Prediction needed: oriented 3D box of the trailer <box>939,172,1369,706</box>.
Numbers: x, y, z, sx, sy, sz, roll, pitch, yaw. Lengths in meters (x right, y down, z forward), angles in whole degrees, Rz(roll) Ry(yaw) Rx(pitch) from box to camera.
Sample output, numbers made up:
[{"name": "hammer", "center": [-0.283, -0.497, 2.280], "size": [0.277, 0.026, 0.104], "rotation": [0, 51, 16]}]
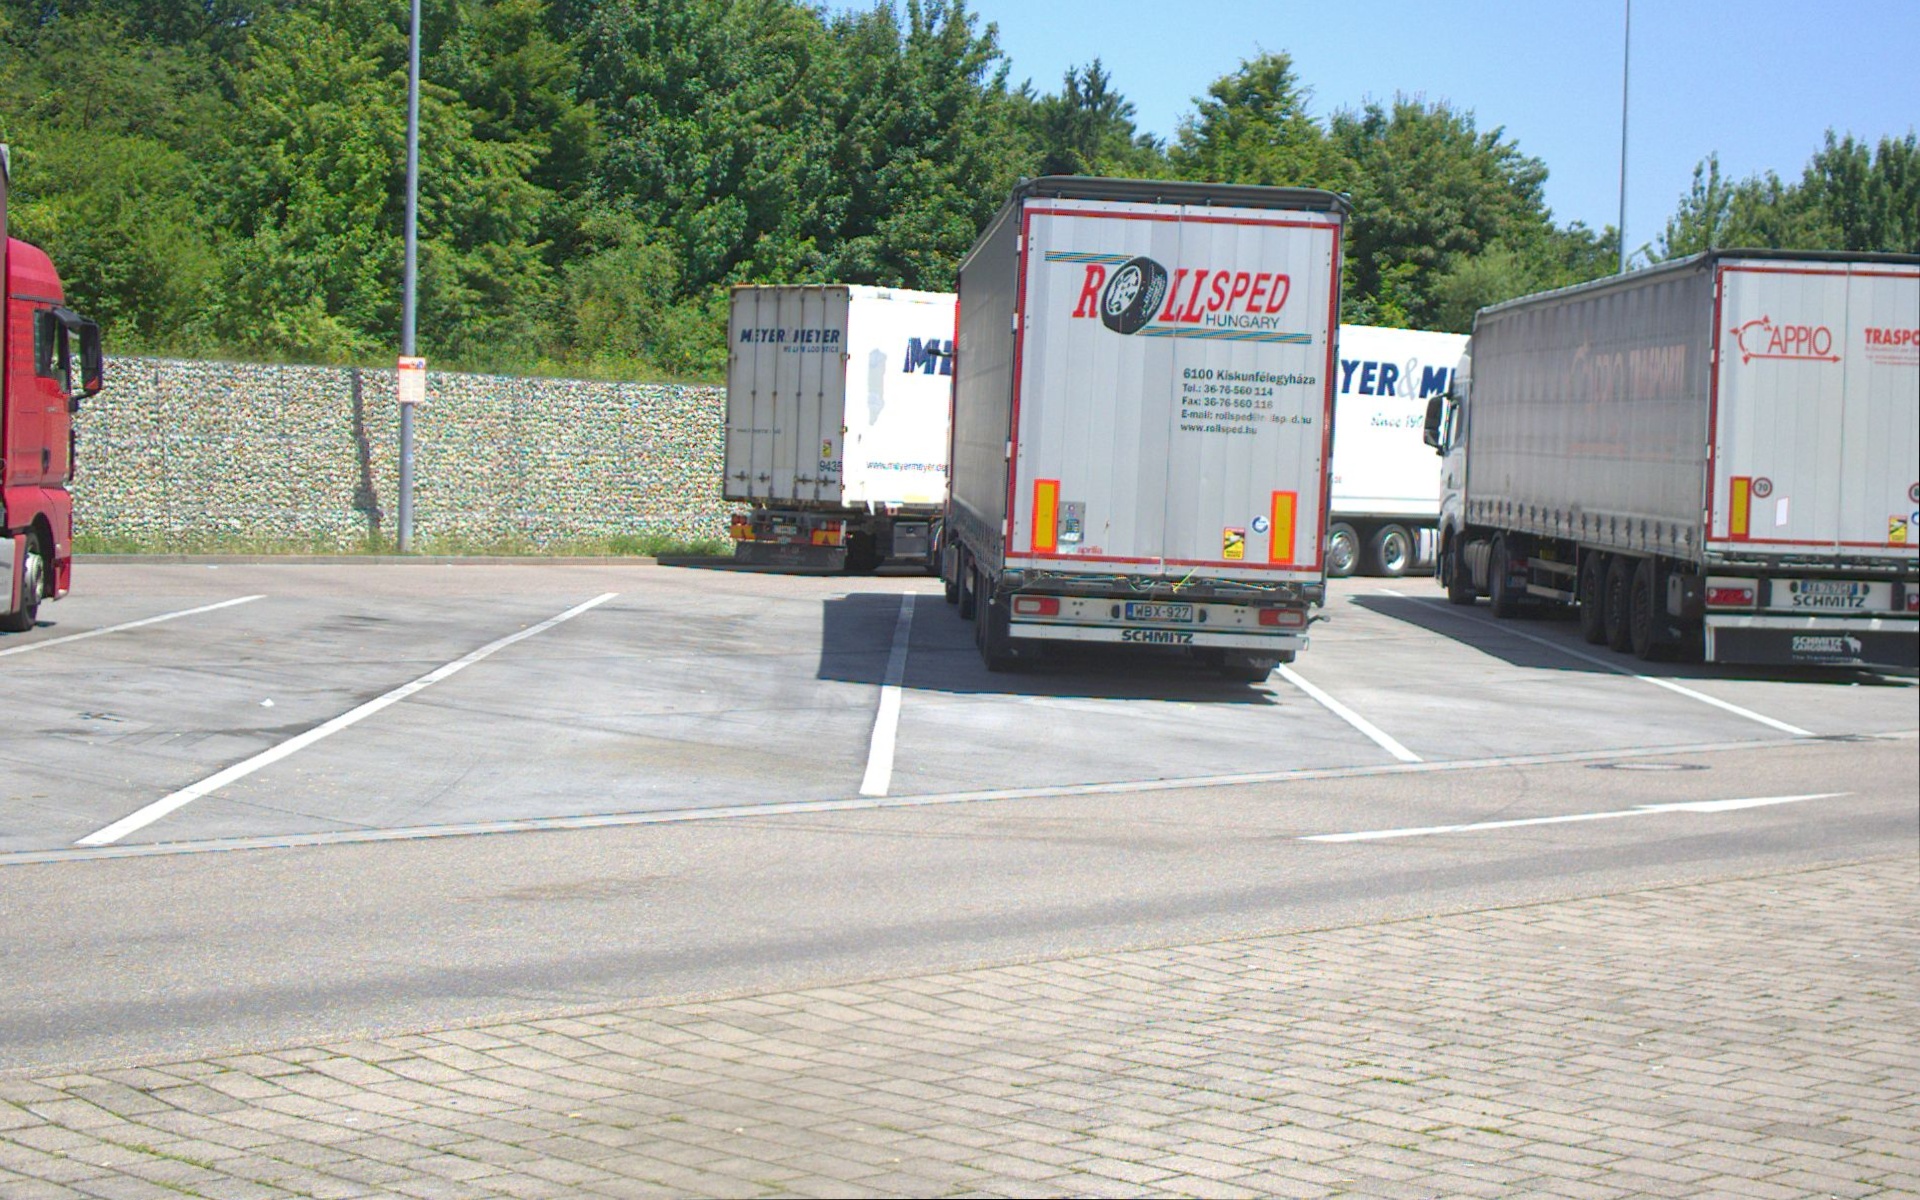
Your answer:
[{"name": "trailer", "center": [1.448, -1.633, 33.587], "size": [2.866, 4.023, 14.243], "rotation": [2, 3, -2]}]

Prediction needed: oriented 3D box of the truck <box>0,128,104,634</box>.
[{"name": "truck", "center": [-9.141, -1.811, 27.951], "size": [2.696, 4.099, 6.240], "rotation": [2, 3, 0]}]

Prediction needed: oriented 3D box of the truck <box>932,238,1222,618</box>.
[{"name": "truck", "center": [1.238, -2.052, 40.666], "size": [2.866, 4.023, 7.028], "rotation": [2, 3, -2]}]

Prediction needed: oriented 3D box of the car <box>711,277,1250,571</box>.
[{"name": "car", "center": [0.454, -2.543, 51.324], "size": [8.445, 4.030, 2.687], "rotation": [-1, 5, -45]}]

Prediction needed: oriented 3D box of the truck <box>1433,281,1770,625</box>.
[{"name": "truck", "center": [8.136, -1.946, 44.550], "size": [2.866, 4.023, 6.957], "rotation": [2, 3, 0]}]

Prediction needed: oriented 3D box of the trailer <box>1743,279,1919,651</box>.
[{"name": "trailer", "center": [11.849, -1.524, 38.986], "size": [2.866, 4.023, 12.439], "rotation": [2, 3, 0]}]

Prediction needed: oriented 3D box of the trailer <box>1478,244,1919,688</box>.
[{"name": "trailer", "center": [8.194, -1.564, 37.923], "size": [2.866, 4.023, 12.439], "rotation": [2, 3, 0]}]

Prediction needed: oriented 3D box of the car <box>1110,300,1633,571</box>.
[{"name": "car", "center": [7.111, -2.668, 57.838], "size": [10.189, 4.174, 2.687], "rotation": [0, 5, -44]}]
